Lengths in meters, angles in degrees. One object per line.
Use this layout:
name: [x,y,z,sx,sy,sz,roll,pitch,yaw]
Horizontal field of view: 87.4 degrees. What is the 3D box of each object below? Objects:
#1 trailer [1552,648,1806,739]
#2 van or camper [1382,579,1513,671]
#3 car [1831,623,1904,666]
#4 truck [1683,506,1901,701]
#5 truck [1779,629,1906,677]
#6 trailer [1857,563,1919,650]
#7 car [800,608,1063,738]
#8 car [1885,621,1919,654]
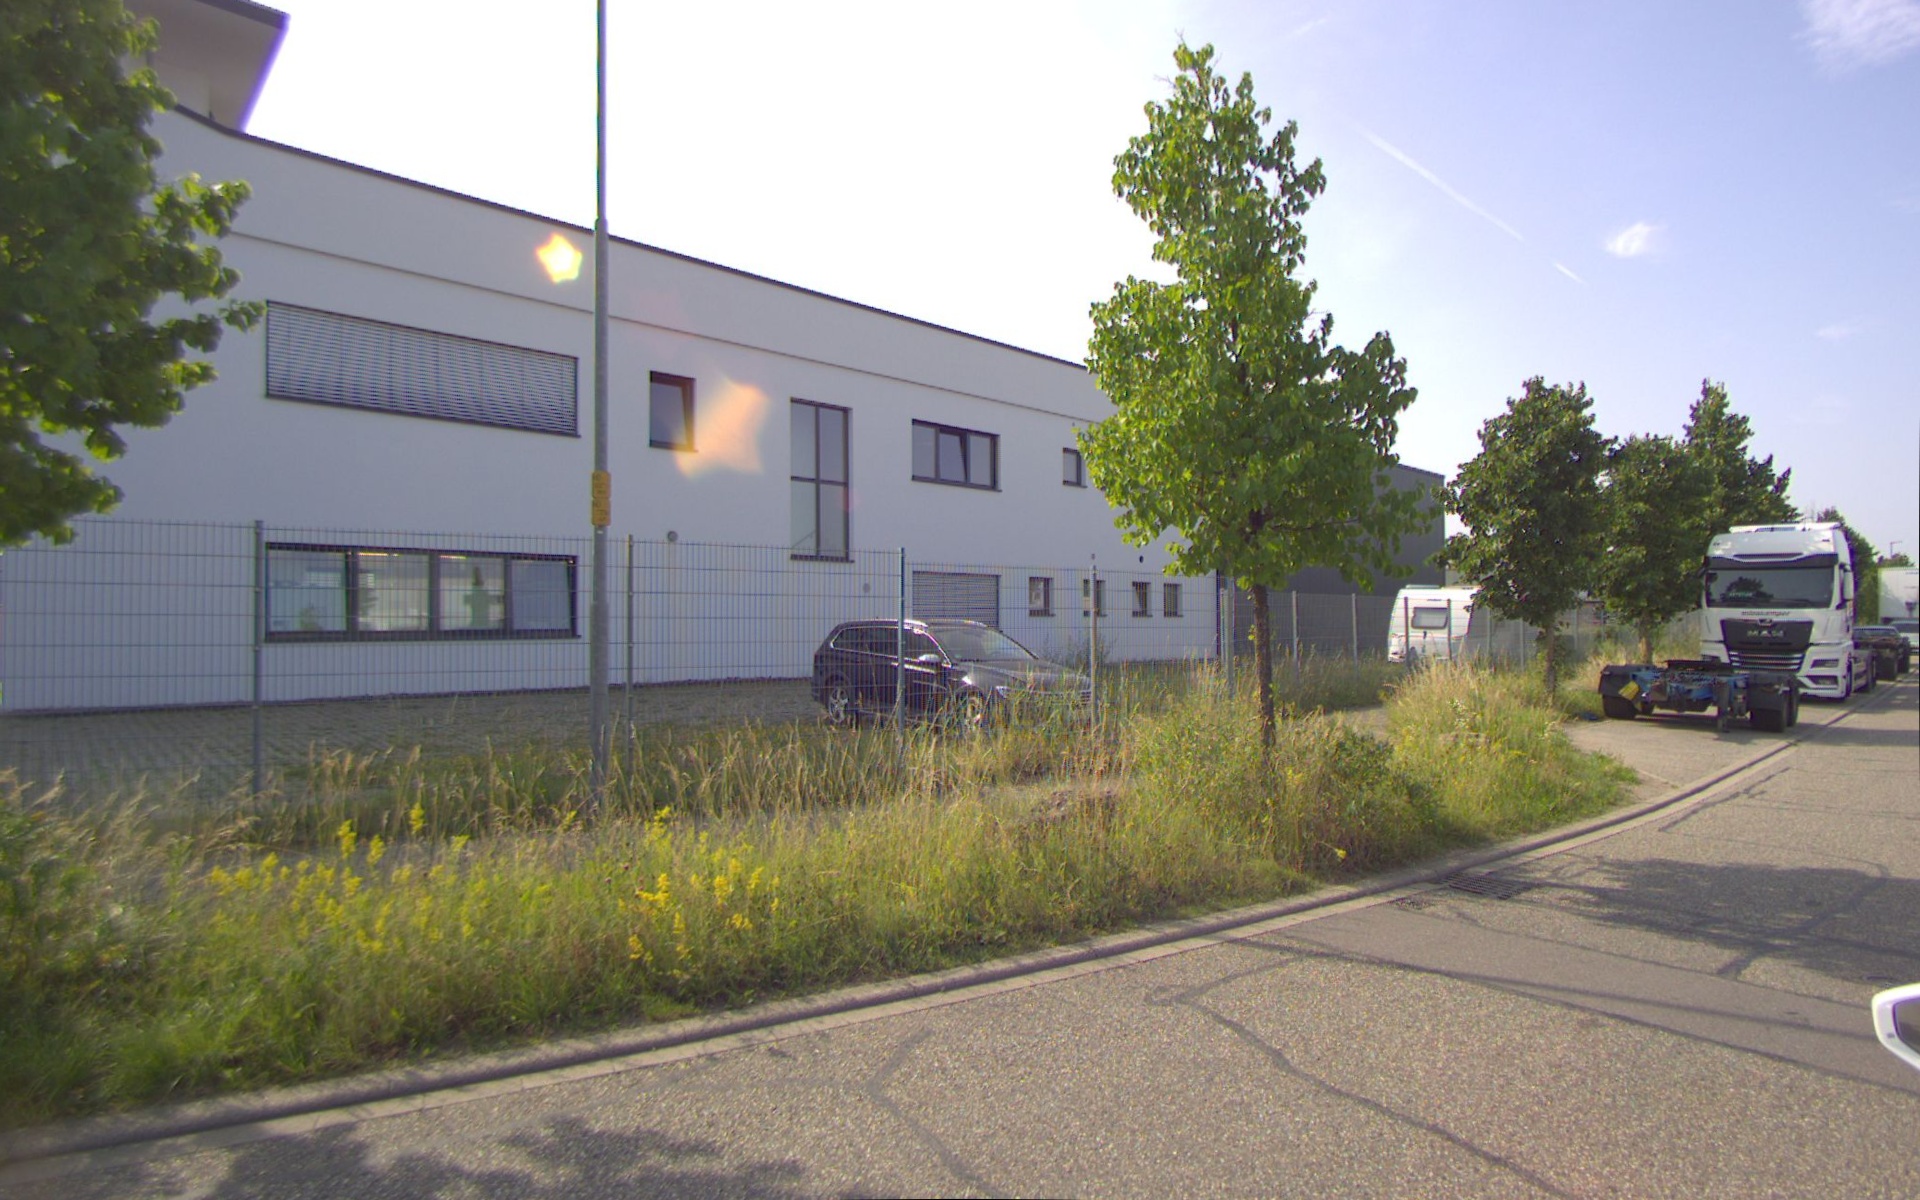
trailer: [12.052,1.433,16.695,5.166,1.114,2.549,1,-2,-44]
van or camper: [15.167,0.768,31.129,2.281,2.594,4.924,-1,-2,43]
car: [33.215,1.591,36.754,1.864,1.455,3.977,-1,-2,43]
truck: [21.745,0.165,25.825,12.823,3.981,2.602,1,-1,-43]
truck: [27.740,1.591,31.489,6.482,1.282,2.500,1,-1,-44]
trailer: [53.097,0.440,56.017,13.821,4.397,3.372,1,-2,-43]
car: [-0.466,0.863,13.408,3.457,1.473,1.587,0,-1,45]
car: [43.317,1.662,45.435,3.970,1.446,1.794,1,-2,-42]
